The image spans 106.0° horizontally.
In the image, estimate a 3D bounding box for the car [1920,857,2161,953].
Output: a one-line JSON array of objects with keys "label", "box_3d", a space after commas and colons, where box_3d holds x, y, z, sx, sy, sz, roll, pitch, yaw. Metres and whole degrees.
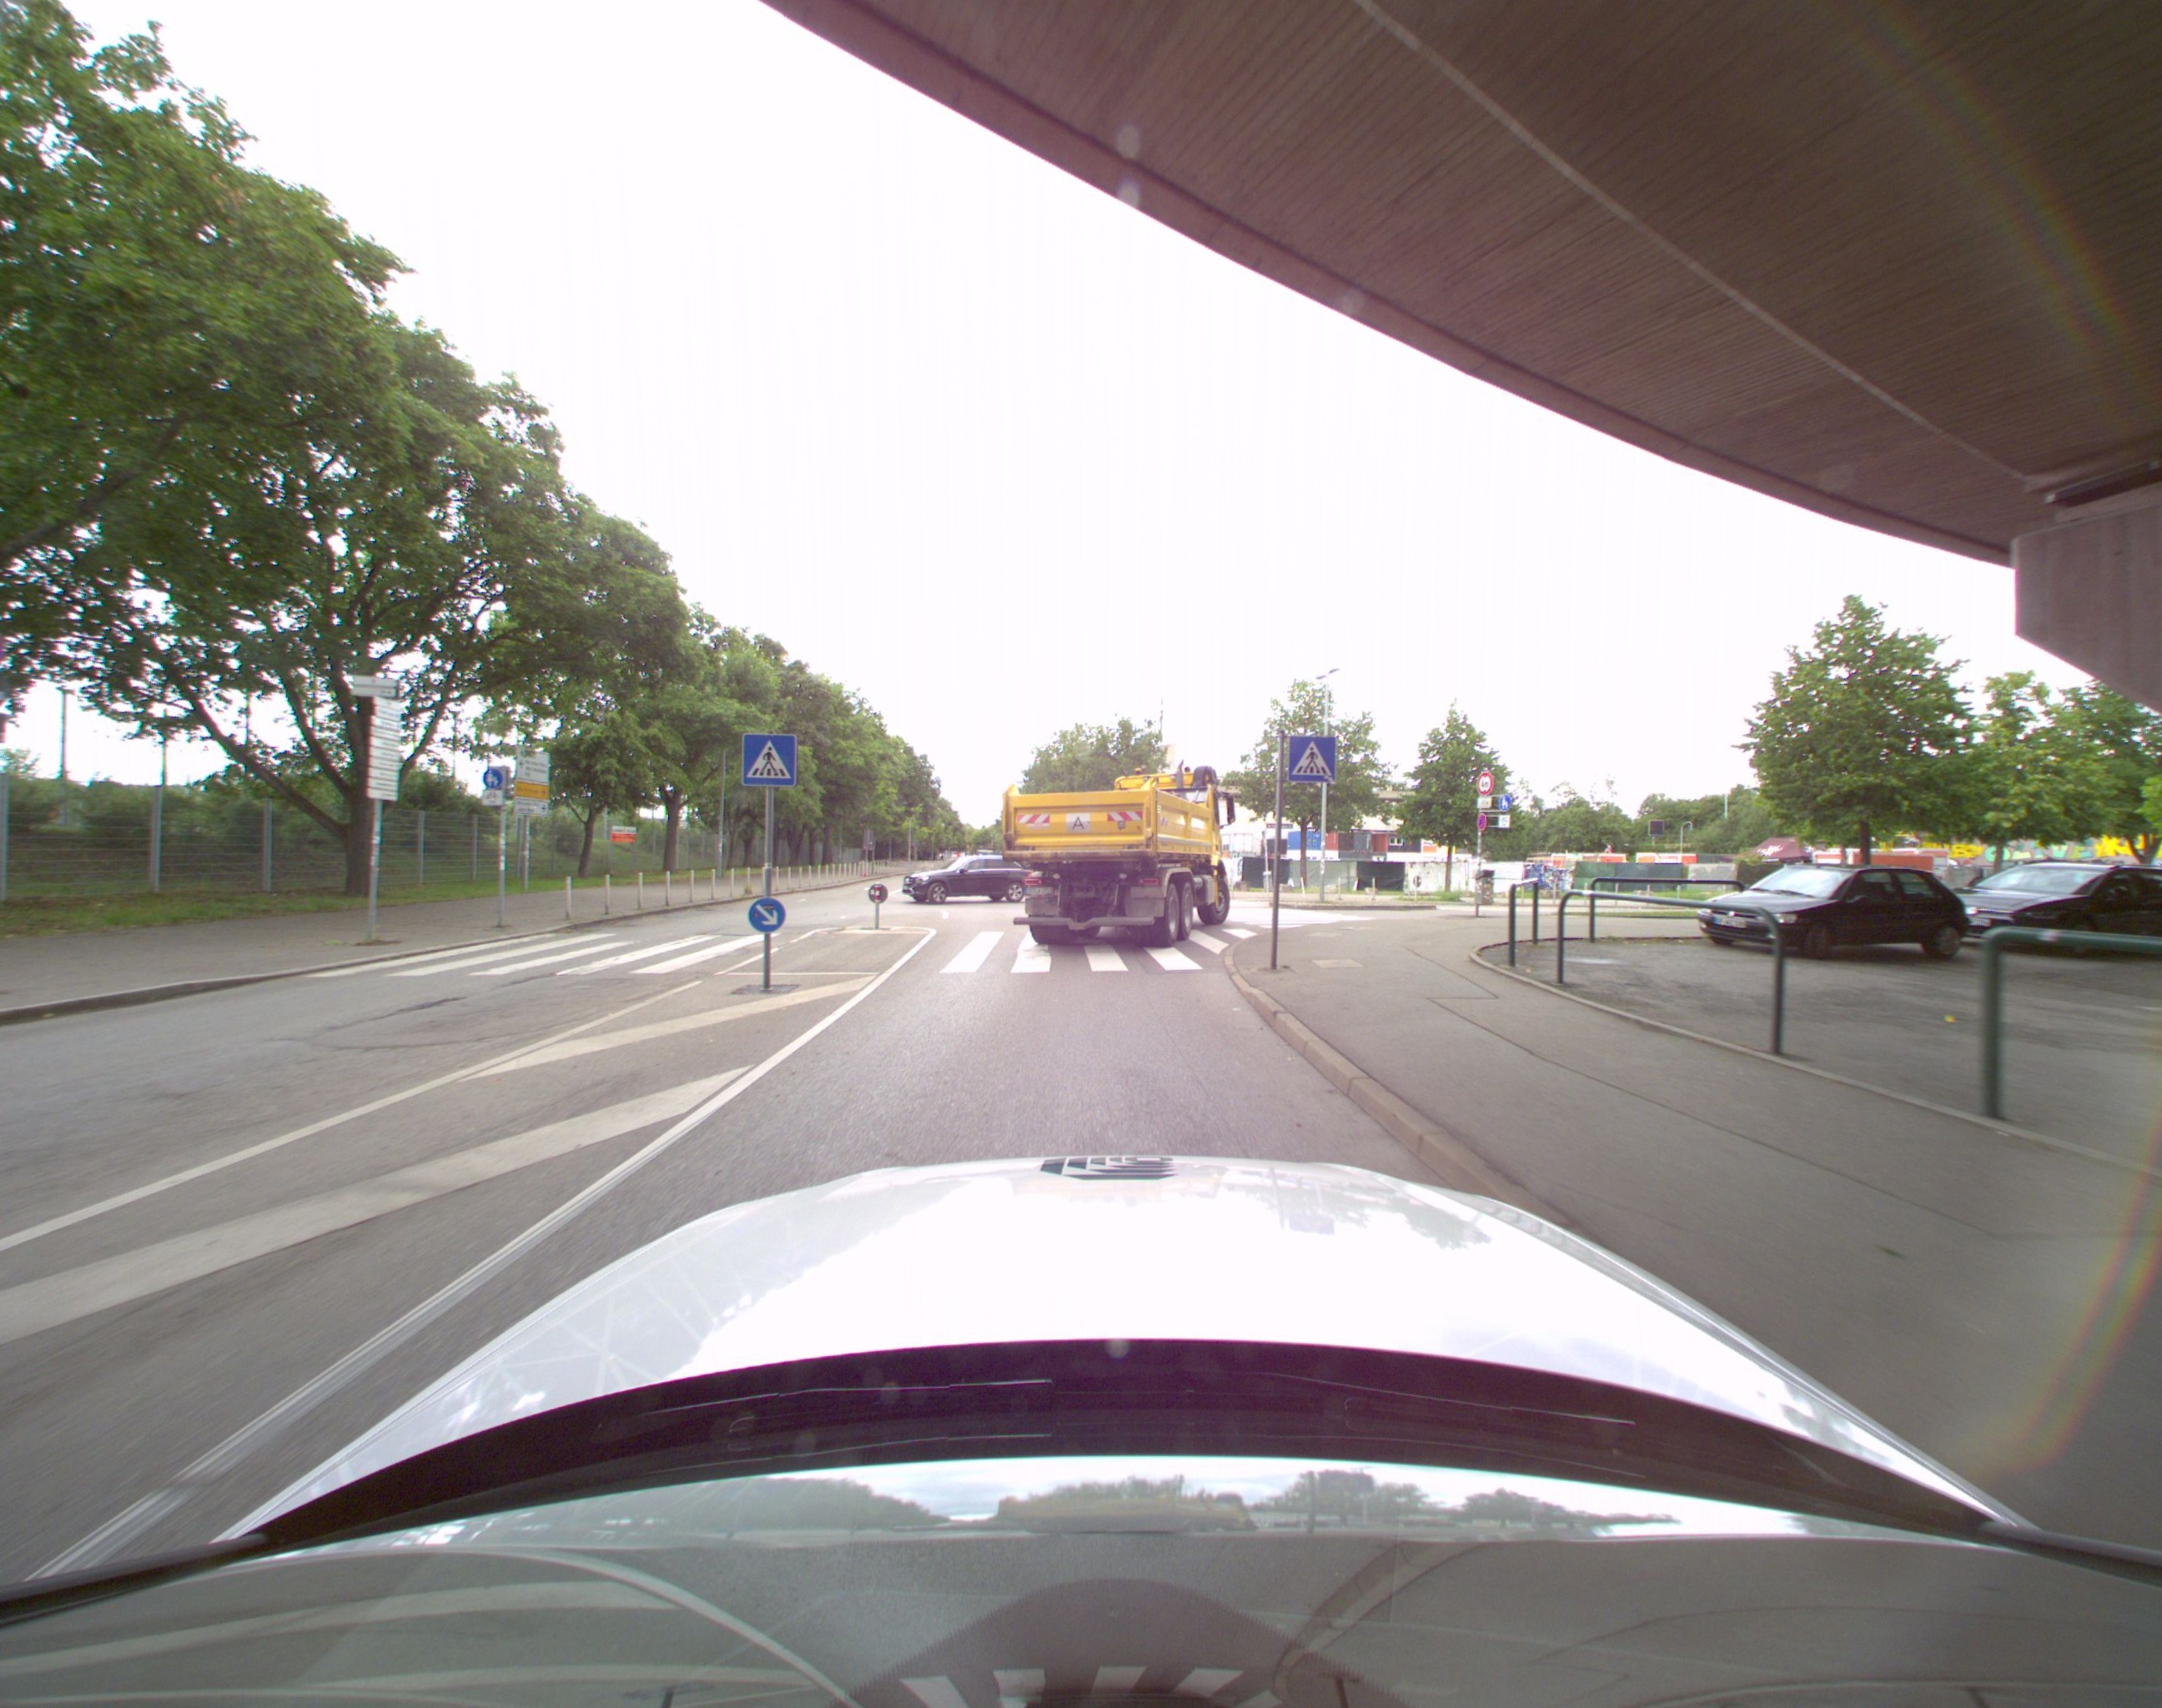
[{"label": "car", "box_3d": [16.612, 0.825, 13.611, 4.235, 1.420, 1.505, 1, 1, -11]}]

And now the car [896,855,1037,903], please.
[{"label": "car", "box_3d": [-3.972, 0.826, 28.548, 4.564, 1.574, 1.827, 0, 0, -31]}]

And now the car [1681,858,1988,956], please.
[{"label": "car", "box_3d": [11.638, 0.802, 12.673, 3.686, 1.329, 1.506, 1, 2, -9]}]

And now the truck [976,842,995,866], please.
[{"label": "truck", "box_3d": [-14.893, 0.075, 126.901, 2.671, 3.558, 7.903, -2, -1, -7]}]

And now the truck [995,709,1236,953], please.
[{"label": "truck", "box_3d": [1.192, -0.296, 16.510, 2.736, 3.699, 7.917, -2, -1, 18]}]

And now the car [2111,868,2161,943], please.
[{"label": "car", "box_3d": [21.447, 0.972, 14.666, 4.360, 1.321, 1.766, 1, 0, -10]}]
